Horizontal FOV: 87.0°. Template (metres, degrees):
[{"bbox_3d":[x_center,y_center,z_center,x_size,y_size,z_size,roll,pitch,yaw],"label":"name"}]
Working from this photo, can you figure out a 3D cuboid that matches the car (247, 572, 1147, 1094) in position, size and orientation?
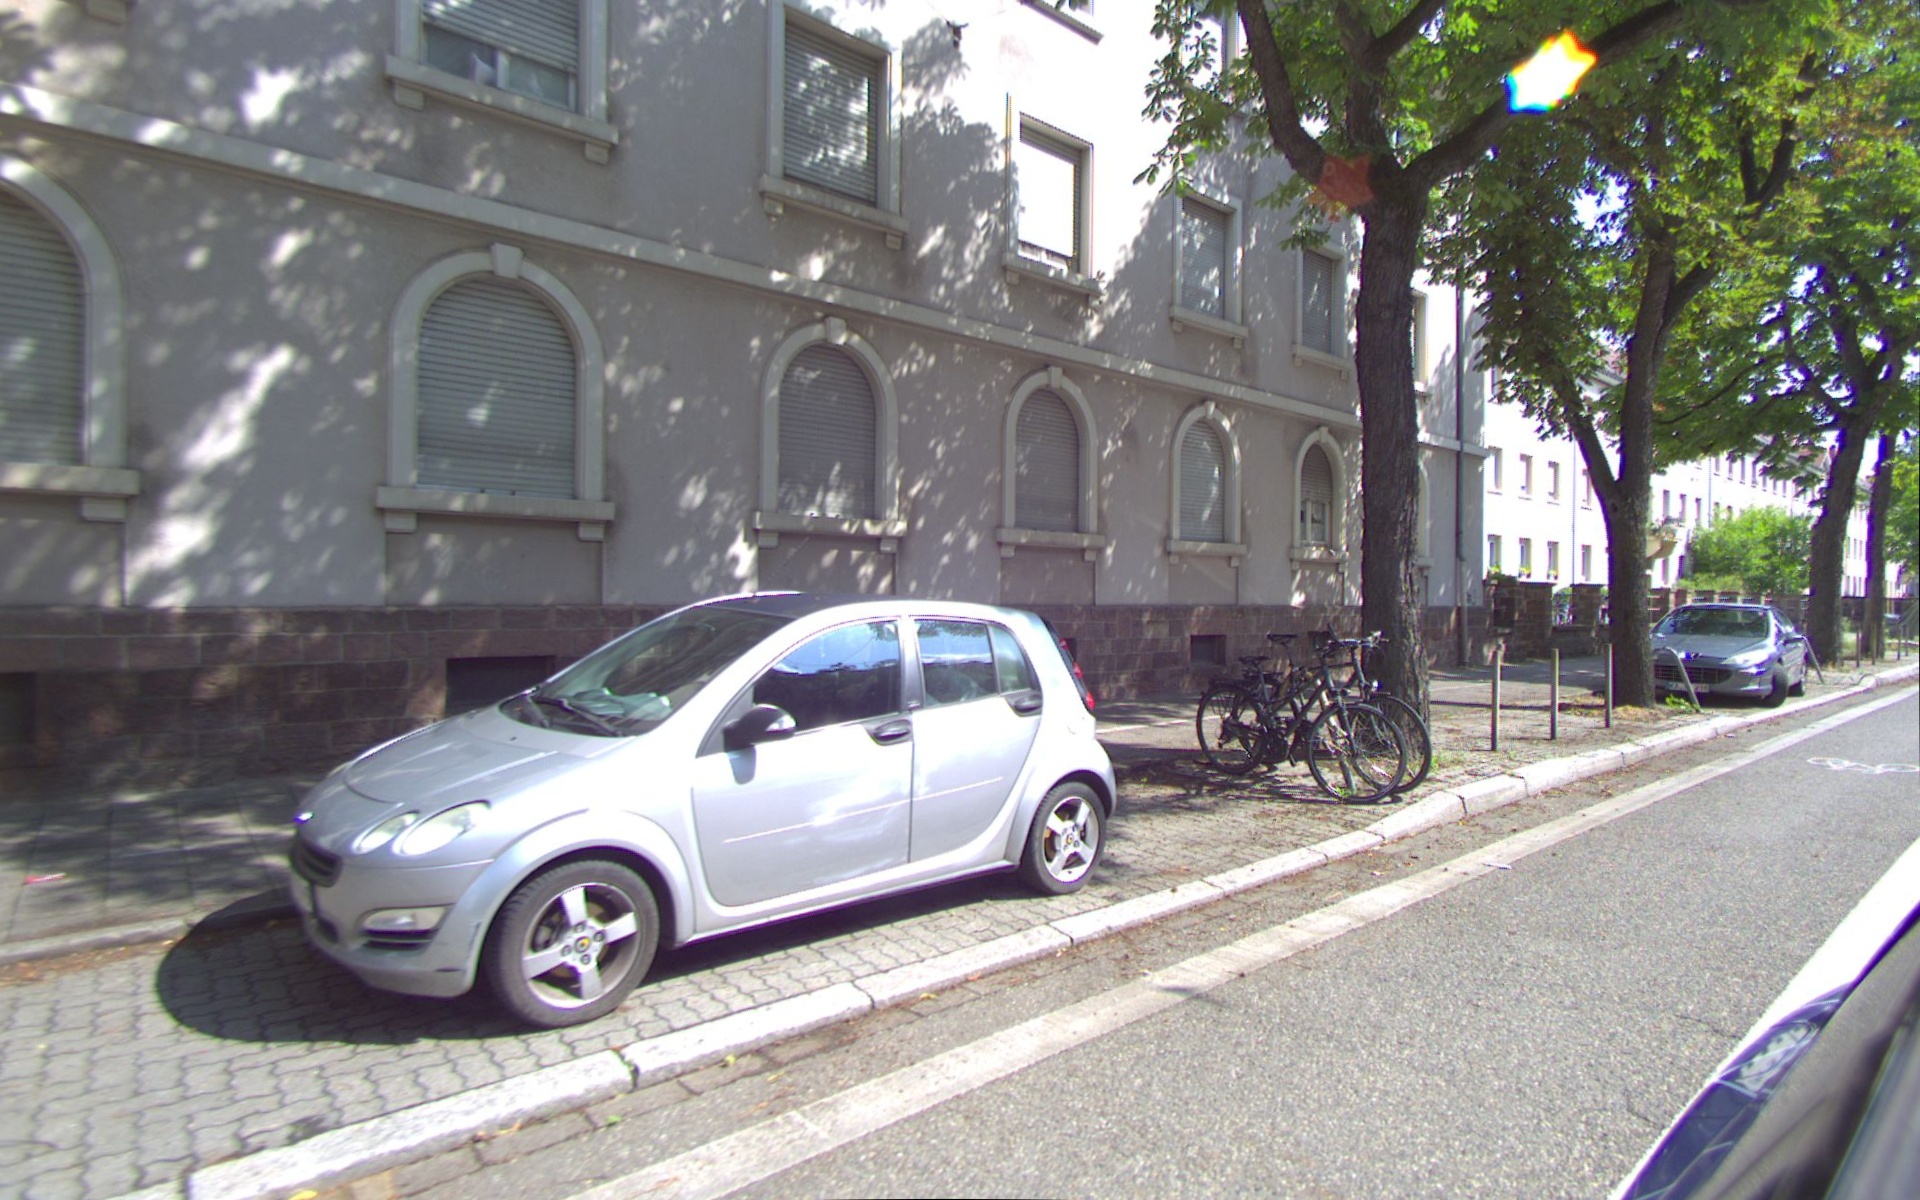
[{"bbox_3d":[-0.987,0.641,4.715,3.699,1.448,1.670,0,3,-40],"label":"car"}]

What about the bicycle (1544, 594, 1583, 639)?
[{"bbox_3d":[17.036,0.449,28.554,1.673,1.227,0.413,0,0,-40],"label":"bicycle"}]

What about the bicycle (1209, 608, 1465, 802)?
[{"bbox_3d":[2.746,0.699,7.623,0.503,1.190,1.946,0,2,-28],"label":"bicycle"}]

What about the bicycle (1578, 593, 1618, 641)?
[{"bbox_3d":[16.827,0.445,26.682,1.673,1.227,0.413,0,0,-40],"label":"bicycle"}]

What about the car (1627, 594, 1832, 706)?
[{"bbox_3d":[12.053,0.658,15.750,4.322,1.426,1.848,0,3,-44],"label":"car"}]

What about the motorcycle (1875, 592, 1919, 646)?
[{"bbox_3d":[29.118,0.568,30.666,0.666,1.617,2.386,0,0,2],"label":"motorcycle"}]

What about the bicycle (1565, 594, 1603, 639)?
[{"bbox_3d":[17.518,0.451,28.411,1.673,1.227,0.413,0,0,-40],"label":"bicycle"}]

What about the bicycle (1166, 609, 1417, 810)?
[{"bbox_3d":[2.319,0.703,7.354,0.503,1.190,1.903,0,2,-28],"label":"bicycle"}]

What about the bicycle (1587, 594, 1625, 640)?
[{"bbox_3d":[17.912,0.460,28.053,1.673,1.227,0.413,0,0,-40],"label":"bicycle"}]
